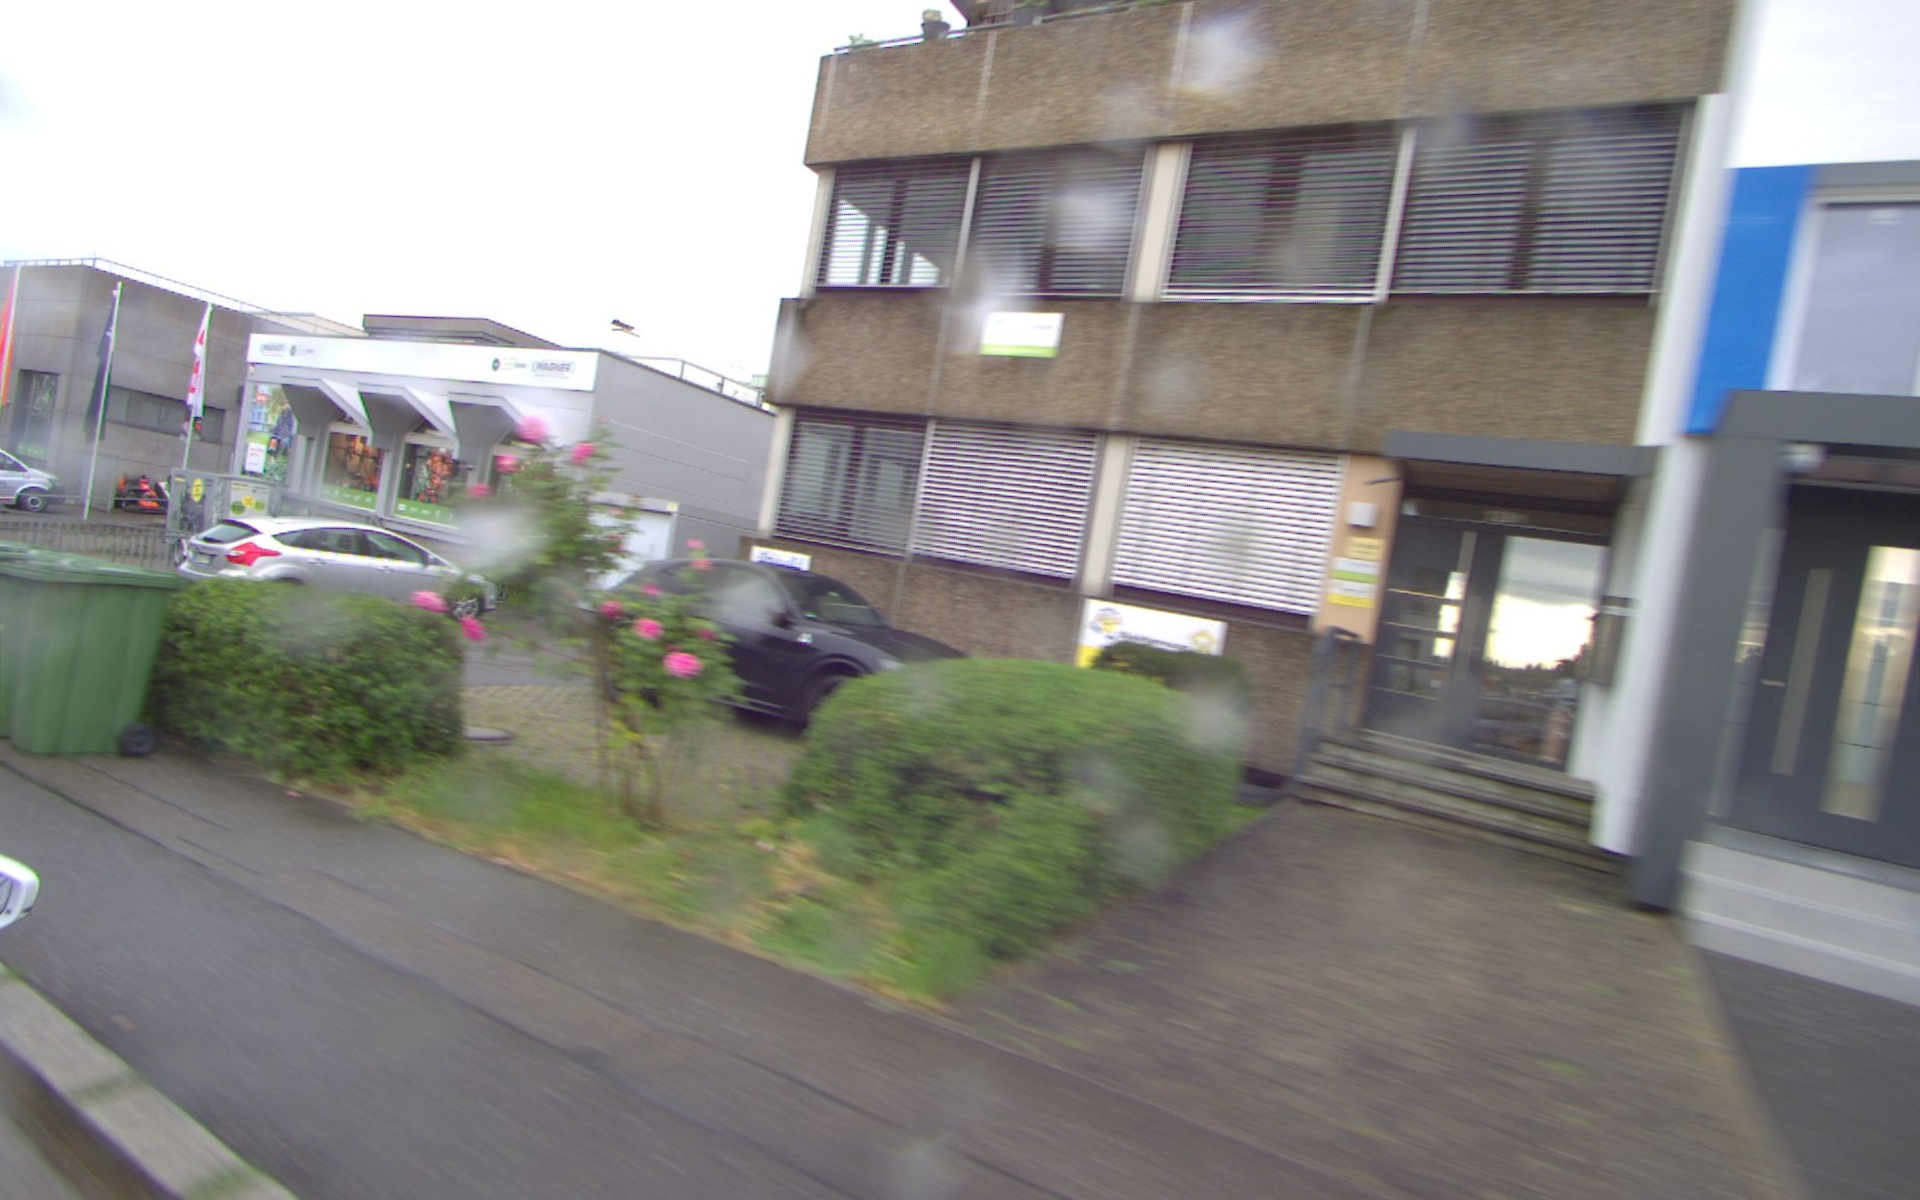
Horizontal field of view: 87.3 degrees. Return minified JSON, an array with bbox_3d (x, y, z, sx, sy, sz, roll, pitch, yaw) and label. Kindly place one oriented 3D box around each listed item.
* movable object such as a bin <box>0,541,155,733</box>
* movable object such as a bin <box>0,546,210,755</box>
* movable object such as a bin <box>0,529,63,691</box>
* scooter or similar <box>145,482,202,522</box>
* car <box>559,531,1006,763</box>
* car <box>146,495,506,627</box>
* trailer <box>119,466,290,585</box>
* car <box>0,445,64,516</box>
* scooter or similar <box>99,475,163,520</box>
[{"bbox_3d":[-5.571,0.221,6.168,0.626,1.079,0.744,7,0,31],"label":"movable object such as a bin"},{"bbox_3d":[-4.977,0.280,5.757,0.795,1.042,0.773,7,0,32],"label":"movable object such as a bin"},{"bbox_3d":[-7.113,0.044,7.349,0.727,1.127,0.695,7,0,-44],"label":"movable object such as a bin"},{"bbox_3d":[-27.060,-3.376,34.596,1.815,1.171,1.003,7,4,33],"label":"scooter or similar"},{"bbox_3d":[-1.944,0.396,10.567,4.398,1.771,1.751,6,0,30],"label":"car"},{"bbox_3d":[-9.373,-0.498,15.239,1.969,1.594,4.124,6,1,29],"label":"car"},{"bbox_3d":[-19.218,-1.908,25.558,4.236,2.447,1.889,8,1,32],"label":"trailer"},{"bbox_3d":[-29.207,-3.466,28.439,2.184,2.044,5.290,6,7,30],"label":"car"},{"bbox_3d":[-27.627,-3.427,33.510,2.030,1.242,1.064,9,5,33],"label":"scooter or similar"}]
